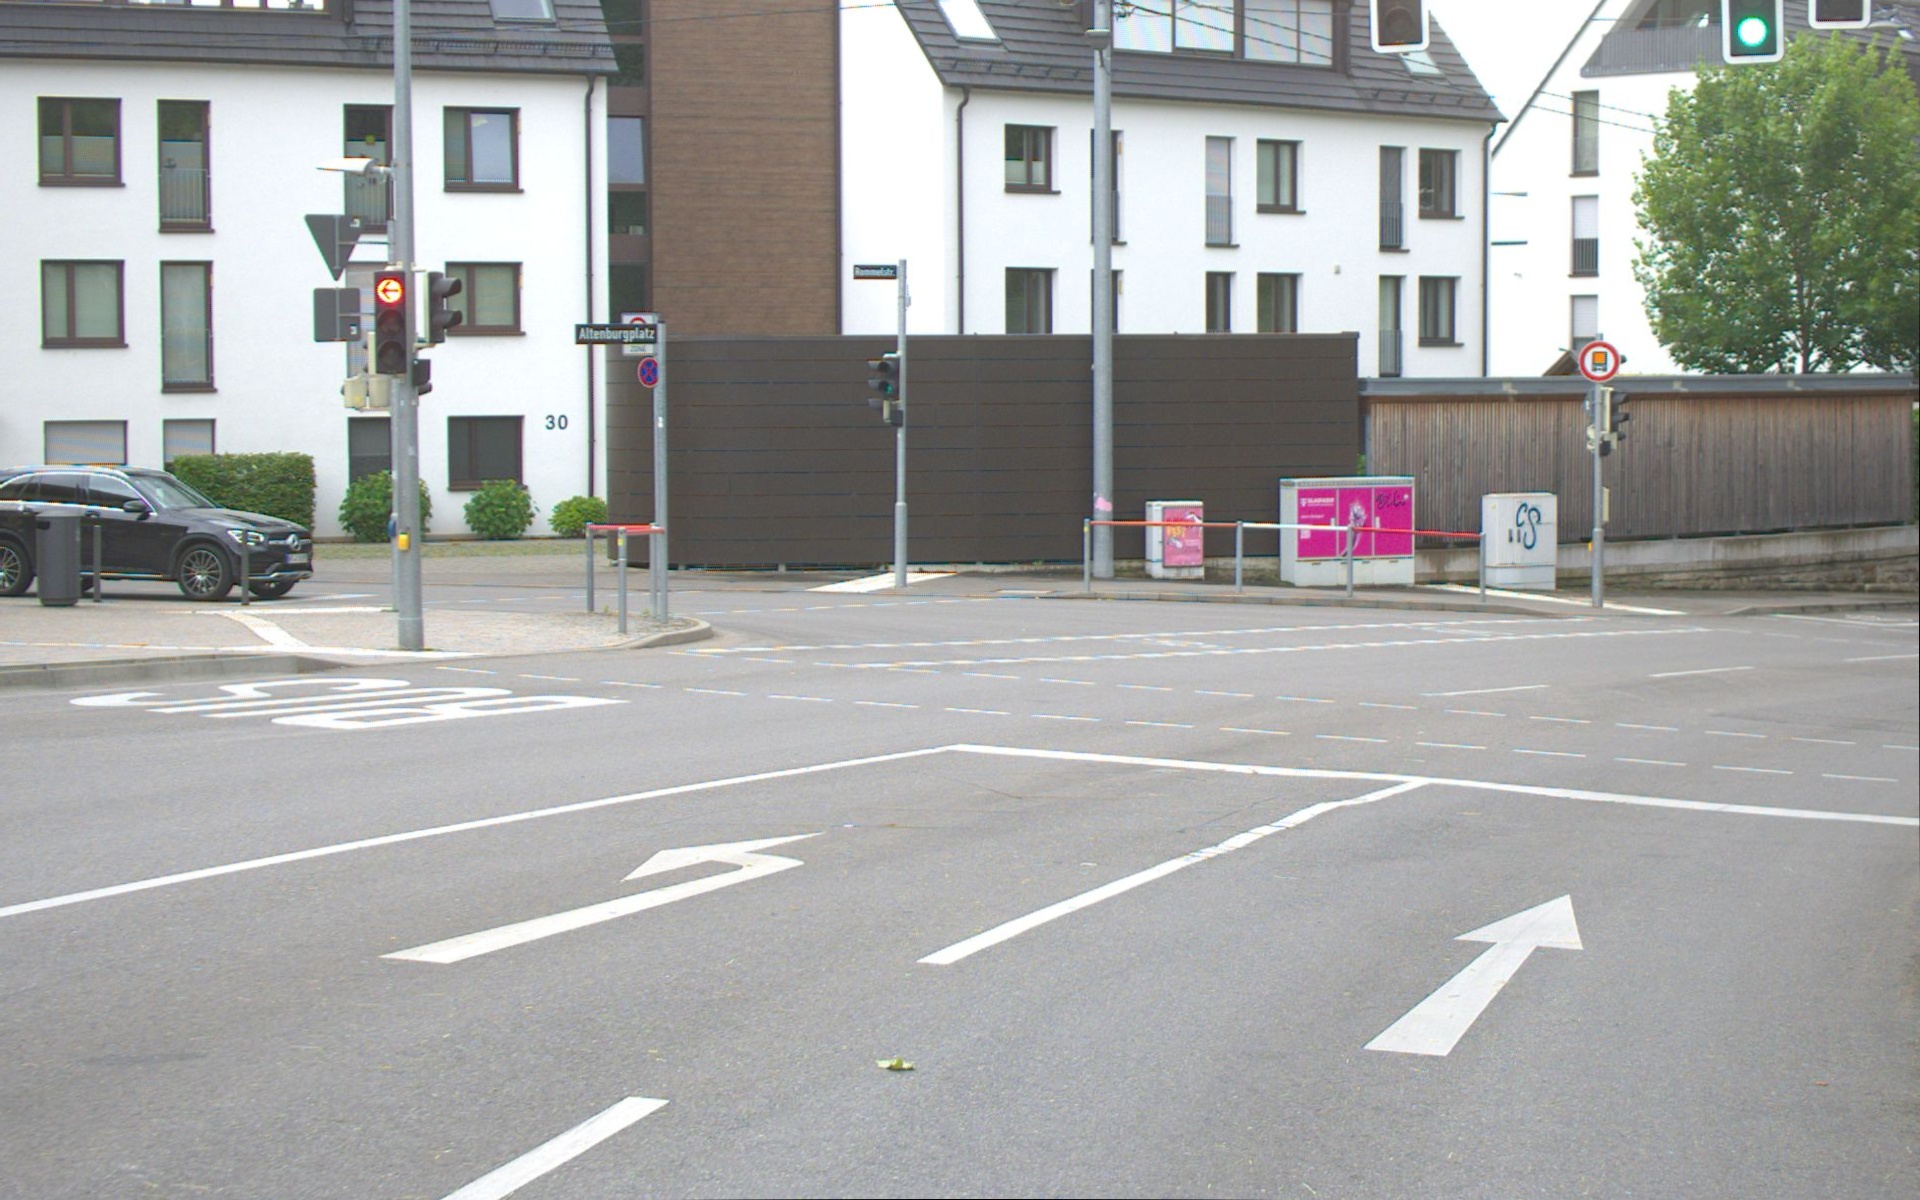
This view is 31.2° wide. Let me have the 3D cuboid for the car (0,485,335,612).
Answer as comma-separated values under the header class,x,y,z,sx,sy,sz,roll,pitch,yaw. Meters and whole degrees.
class,x,y,z,sx,sy,sz,roll,pitch,yaw
car,-10.351,-0.668,43.702,4.263,1.508,1.998,2,1,17
